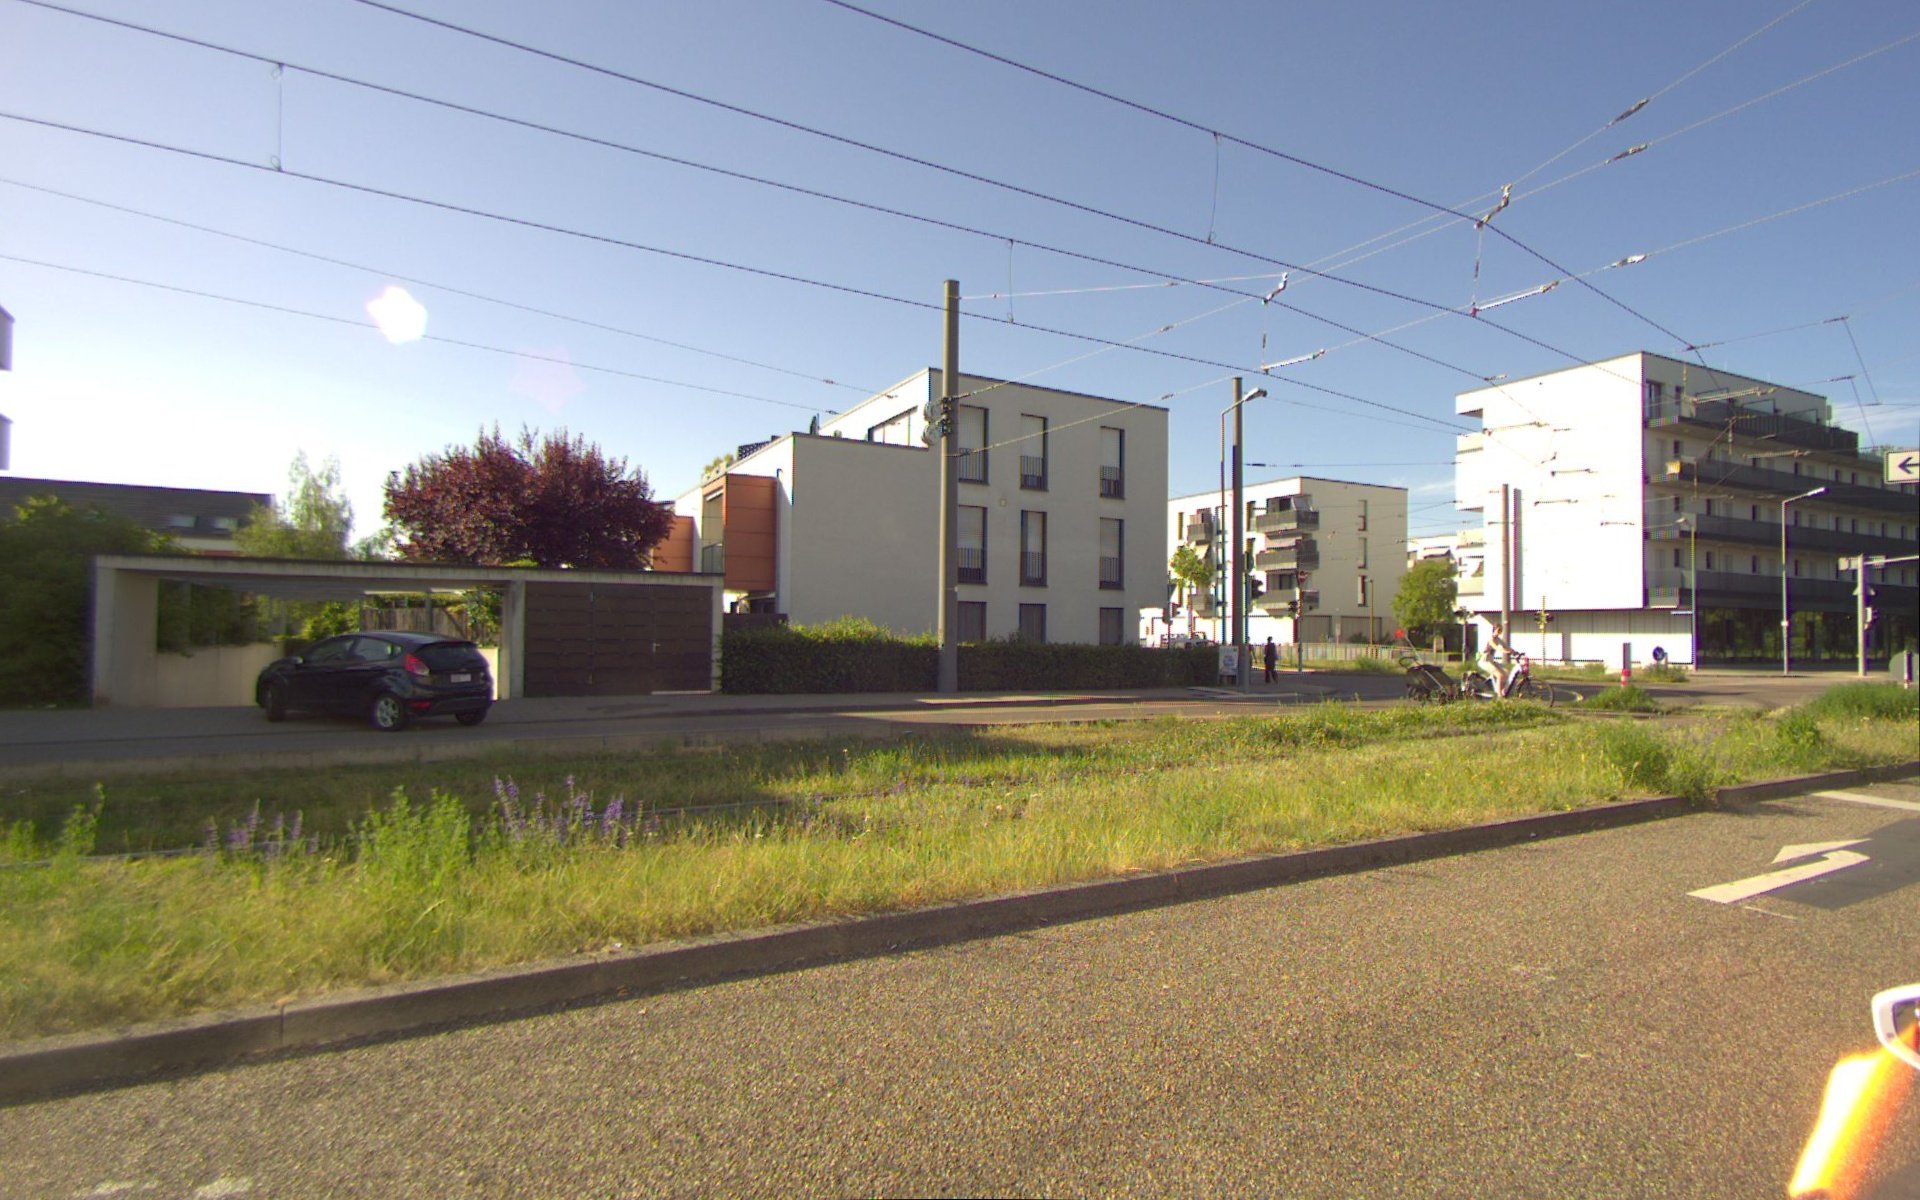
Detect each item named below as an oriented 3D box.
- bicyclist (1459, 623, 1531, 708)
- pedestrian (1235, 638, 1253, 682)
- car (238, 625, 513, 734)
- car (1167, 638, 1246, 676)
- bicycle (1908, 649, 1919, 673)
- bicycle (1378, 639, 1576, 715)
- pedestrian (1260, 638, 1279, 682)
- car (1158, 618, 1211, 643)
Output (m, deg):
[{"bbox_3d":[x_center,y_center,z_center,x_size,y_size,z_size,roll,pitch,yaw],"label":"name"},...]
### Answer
[{"bbox_3d":[10.837,1.312,20.357,0.965,1.651,0.905,1,0,-32],"label":"bicyclist"},{"bbox_3d":[10.018,2.107,35.476,0.548,1.483,0.742,1,0,19],"label":"pedestrian"},{"bbox_3d":[-9.217,1.206,15.894,3.666,1.449,1.709,2,-2,19],"label":"car"},{"bbox_3d":[11.372,2.609,46.475,1.574,1.674,3.475,1,-3,-30],"label":"car"},{"bbox_3d":[47.393,2.980,48.819,1.800,1.099,0.969,1,0,-6],"label":"bicycle"},{"bbox_3d":[10.571,1.536,20.806,0.988,1.190,3.664,1,1,-31],"label":"bicycle"},{"bbox_3d":[10.809,2.088,35.078,0.548,1.483,0.611,1,0,23],"label":"pedestrian"},{"bbox_3d":[17.854,2.448,80.132,1.977,1.862,3.967,1,0,-31],"label":"car"}]
